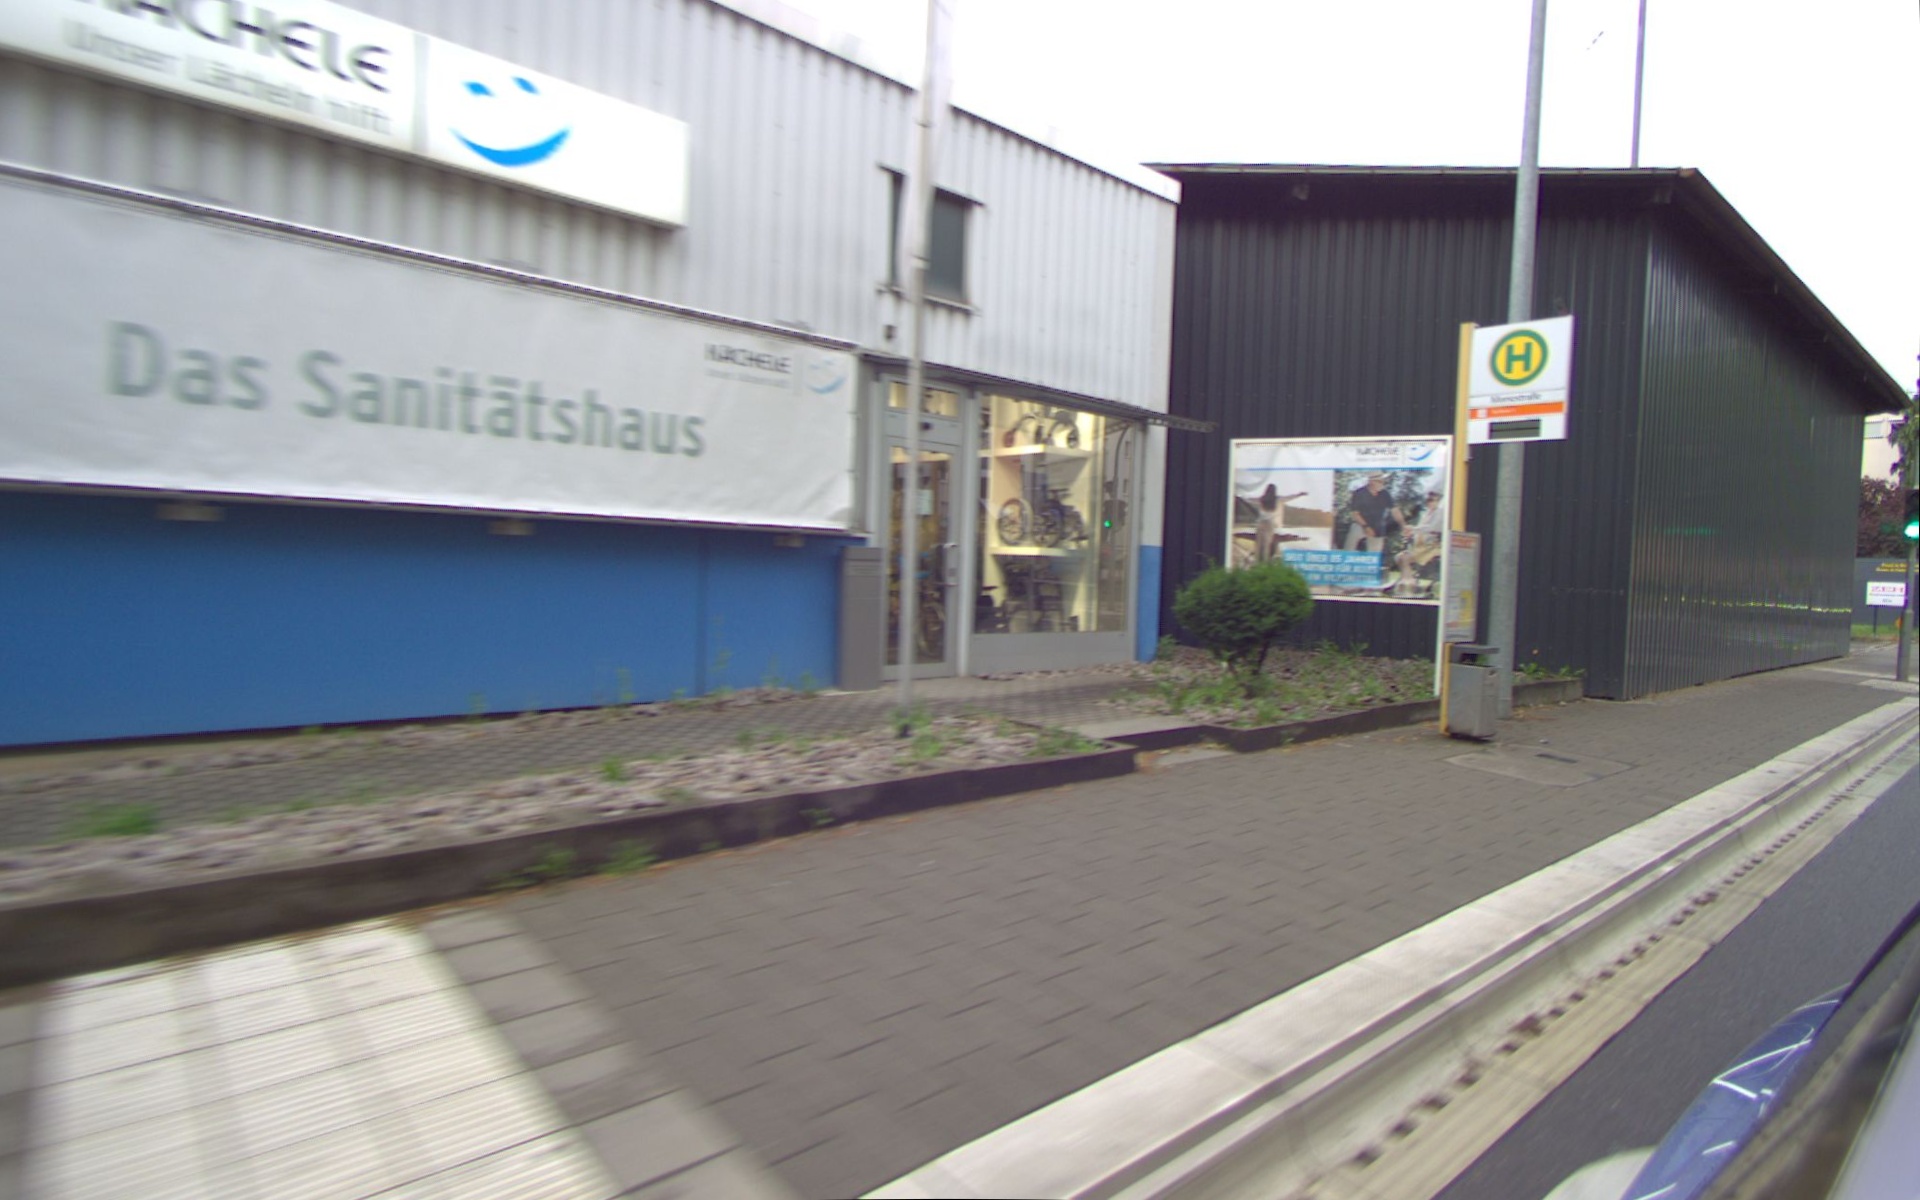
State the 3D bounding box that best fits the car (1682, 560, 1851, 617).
[{"bbox_3d":[35.750,-0.560,45.025,1.966,2.237,5.577,0,3,-42],"label":"car"}]
